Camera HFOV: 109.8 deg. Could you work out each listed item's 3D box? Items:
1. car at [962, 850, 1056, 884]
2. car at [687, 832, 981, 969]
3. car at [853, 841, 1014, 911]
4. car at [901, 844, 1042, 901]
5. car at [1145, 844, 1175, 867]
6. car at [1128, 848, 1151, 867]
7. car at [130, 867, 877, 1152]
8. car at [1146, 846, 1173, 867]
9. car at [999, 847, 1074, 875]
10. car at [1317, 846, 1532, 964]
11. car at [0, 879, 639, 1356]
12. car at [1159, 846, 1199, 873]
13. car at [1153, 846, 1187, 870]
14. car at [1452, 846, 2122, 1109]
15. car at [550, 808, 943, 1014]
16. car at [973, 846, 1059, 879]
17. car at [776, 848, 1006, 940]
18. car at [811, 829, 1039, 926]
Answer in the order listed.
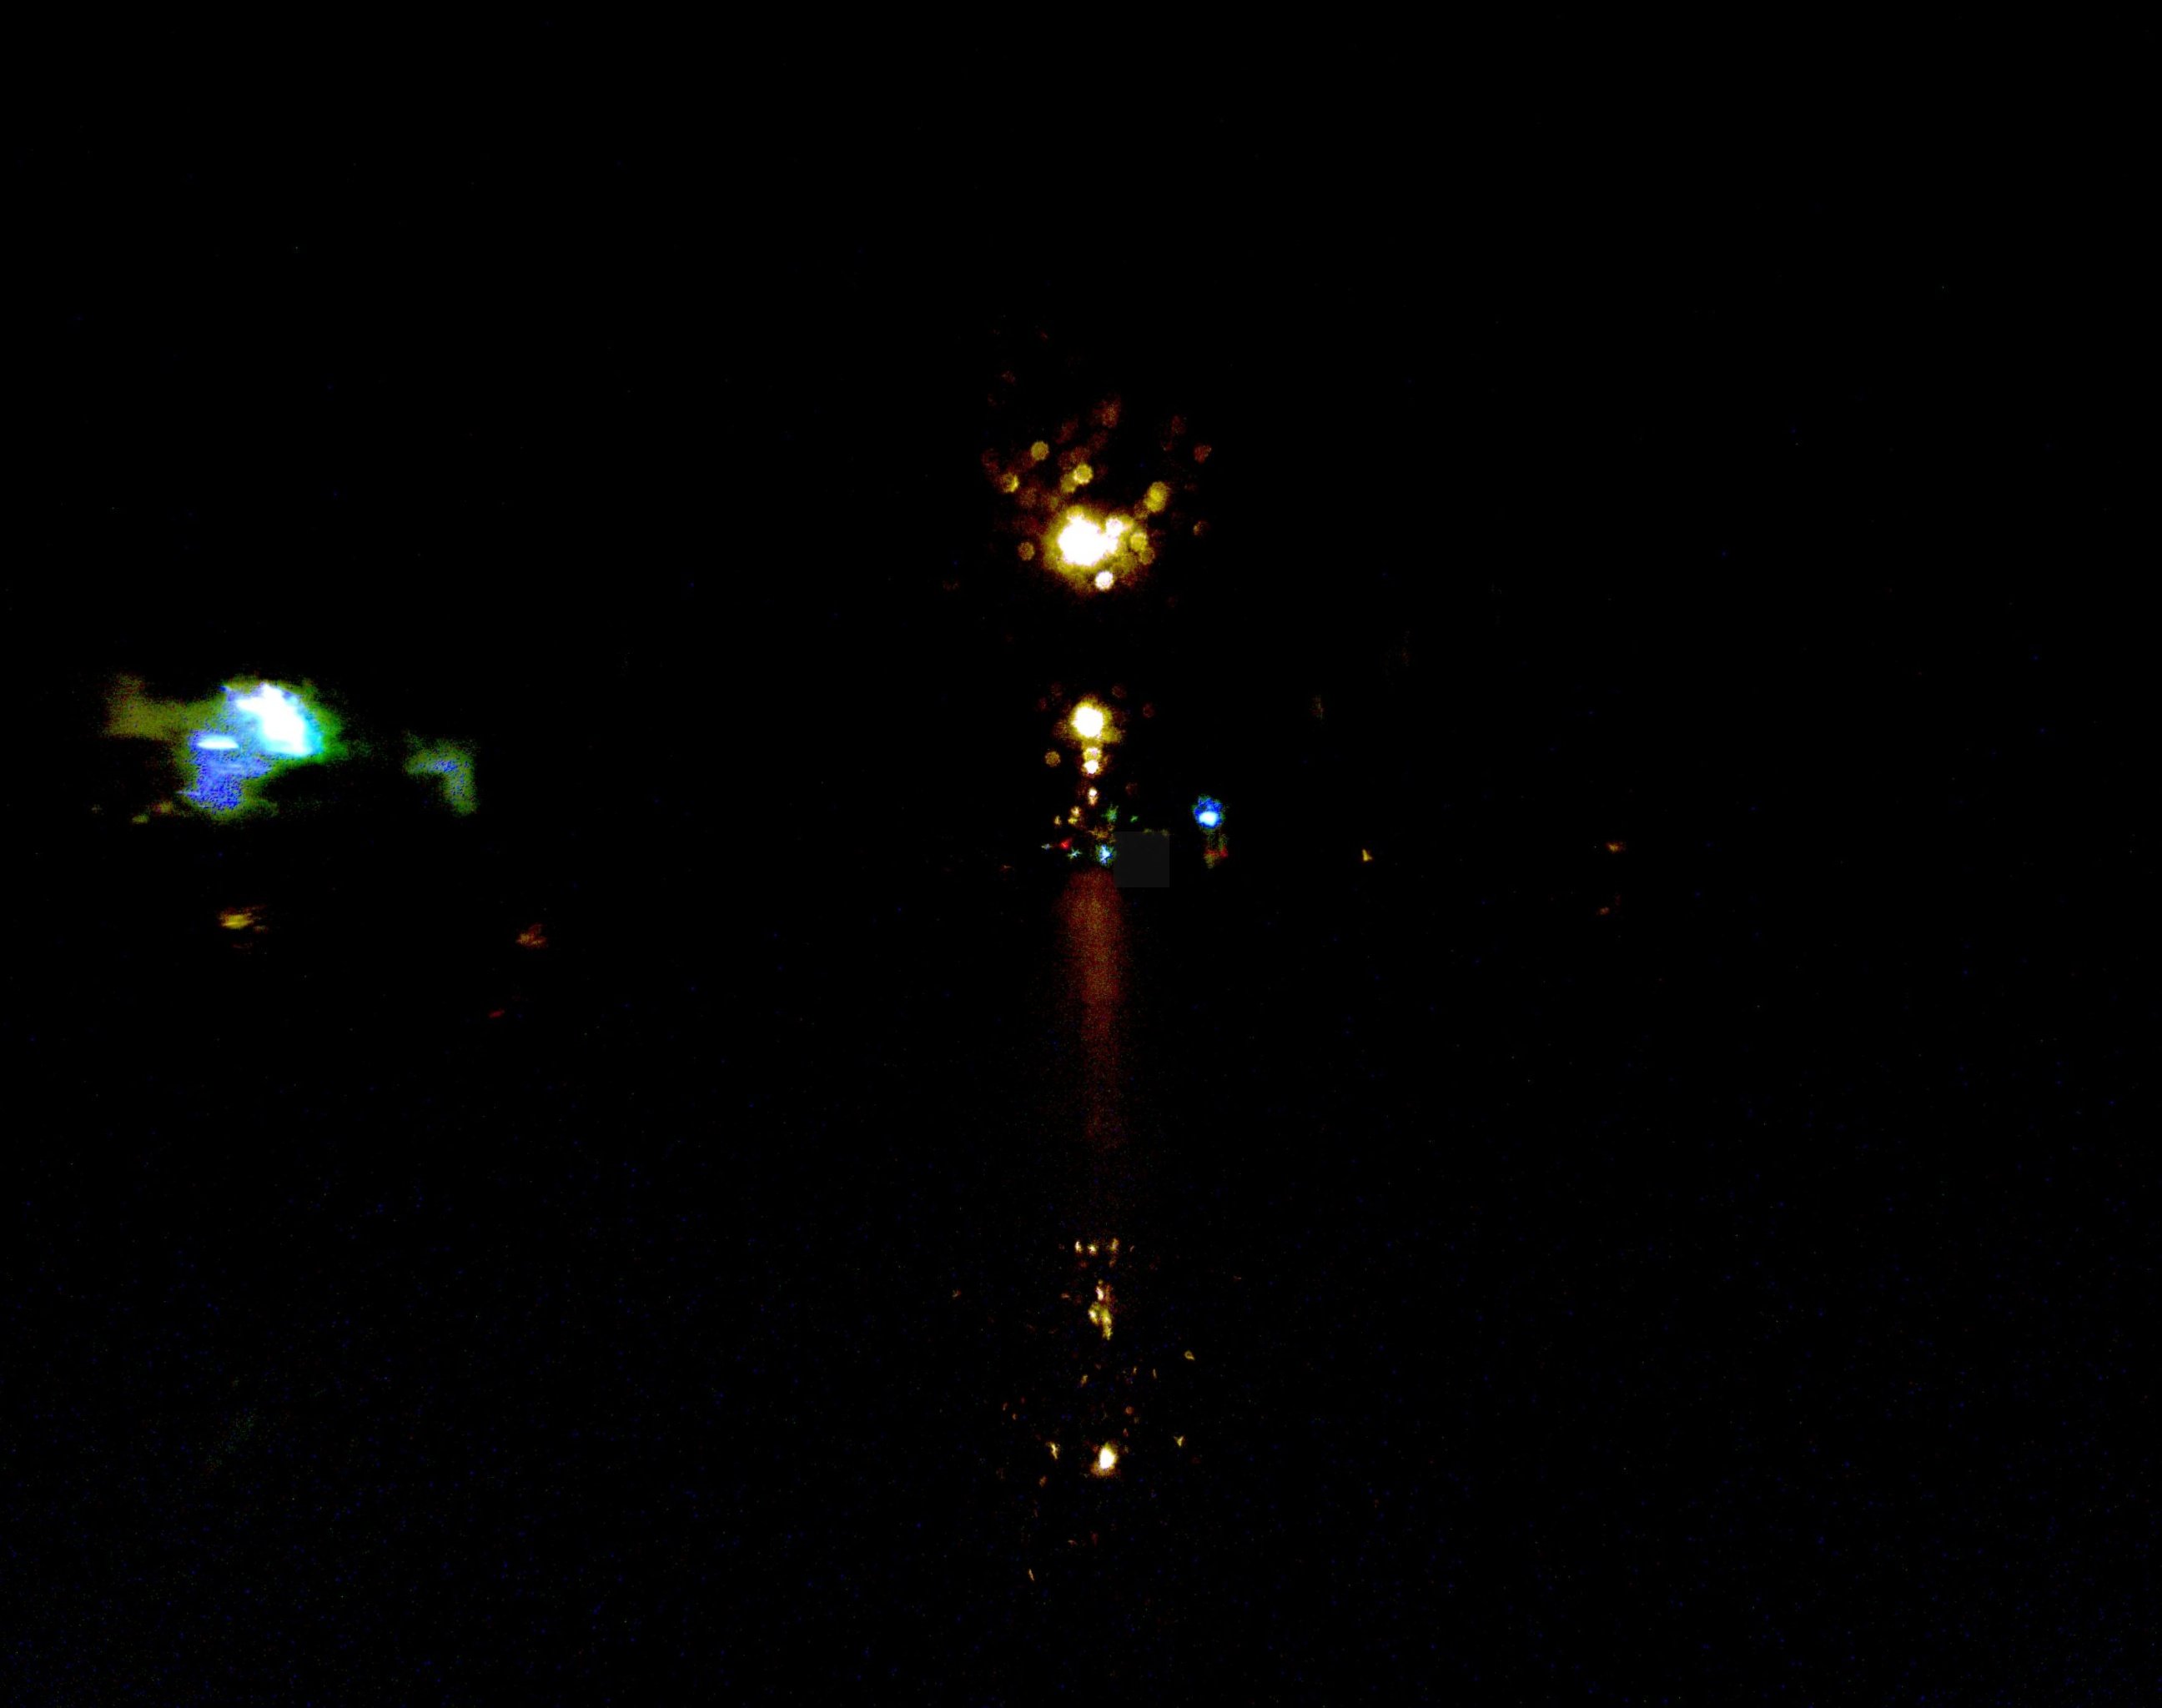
[{"bbox_3d":[-3.304,0.584,34.692,3.939,1.455,1.707,1,1,-22],"label":"car"},{"bbox_3d":[-3.730,0.626,11.729,3.942,1.782,1.738,1,1,-36],"label":"car"},{"bbox_3d":[-3.947,0.570,20.295,3.938,1.732,1.707,1,1,-21],"label":"car"},{"bbox_3d":[-3.338,0.561,23.160,3.938,1.610,1.707,1,1,-21],"label":"car"},{"bbox_3d":[5.819,0.083,56.585,1.851,1.571,3.734,-2,1,1],"label":"car"},{"bbox_3d":[5.382,0.294,69.826,1.851,1.571,3.734,-2,1,1],"label":"car"},{"bbox_3d":[-3.864,0.866,5.905,4.064,1.444,1.674,-1,1,-34],"label":"car"},{"bbox_3d":[6.332,0.163,61.603,1.851,1.571,3.734,-2,1,1],"label":"car"},{"bbox_3d":[-2.573,0.399,43.614,3.939,1.553,1.707,1,1,-22],"label":"car"},{"bbox_3d":[4.974,0.637,11.595,1.720,1.470,3.786,-2,1,3],"label":"car"},{"bbox_3d":[-3.947,0.862,3.069,3.712,1.444,1.654,1,1,-31],"label":"car"},{"bbox_3d":[5.742,0.309,44.848,1.851,1.470,3.735,-2,1,1],"label":"car"},{"bbox_3d":[5.869,0.235,50.564,1.851,1.470,3.735,-2,1,1],"label":"car"},{"bbox_3d":[5.066,0.685,6.429,1.721,1.470,4.158,-1,1,-2],"label":"car"},{"bbox_3d":[-3.843,0.553,8.979,3.942,1.931,1.738,1,1,-36],"label":"car"},{"bbox_3d":[-3.256,0.443,38.103,3.939,1.553,1.707,1,1,-22],"label":"car"},{"bbox_3d":[-3.632,0.707,14.721,3.941,1.541,1.738,1,1,-33],"label":"car"},{"bbox_3d":[-3.542,0.506,17.422,4.719,1.969,1.974,1,1,-28],"label":"car"}]
